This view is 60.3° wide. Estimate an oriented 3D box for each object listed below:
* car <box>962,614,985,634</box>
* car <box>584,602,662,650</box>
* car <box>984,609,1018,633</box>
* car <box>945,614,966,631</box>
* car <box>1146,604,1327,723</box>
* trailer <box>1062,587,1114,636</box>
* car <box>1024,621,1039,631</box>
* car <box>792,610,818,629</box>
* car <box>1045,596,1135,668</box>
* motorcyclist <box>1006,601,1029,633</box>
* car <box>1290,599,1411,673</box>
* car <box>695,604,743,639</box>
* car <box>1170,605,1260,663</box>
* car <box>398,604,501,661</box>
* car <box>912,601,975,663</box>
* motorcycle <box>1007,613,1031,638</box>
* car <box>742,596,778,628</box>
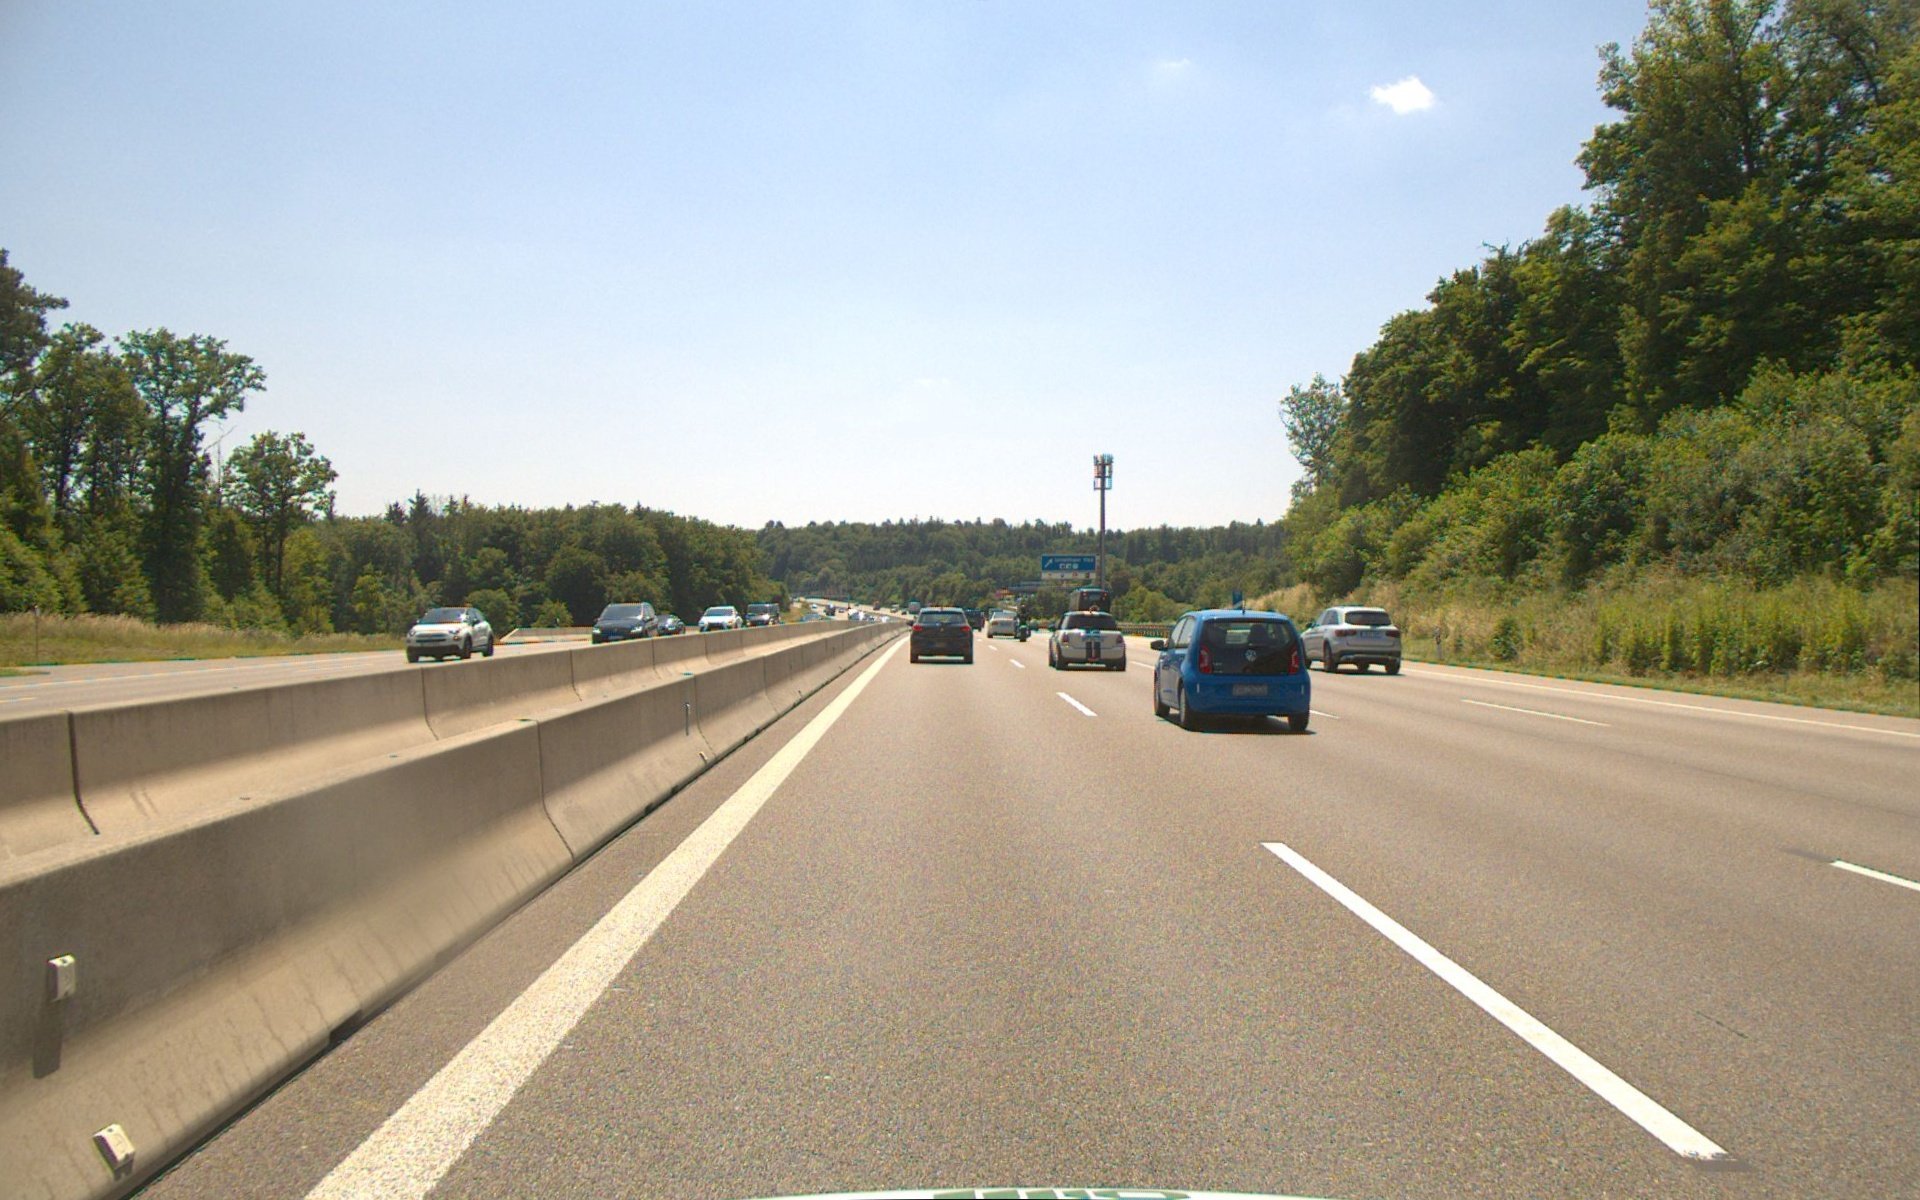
[{"bbox_3d":[1.288,2.271,157.675,2.055,1.884,4.079,0,0,-2],"label":"car"},{"bbox_3d":[-11.597,0.876,57.167,1.764,1.576,4.728,0,0,0],"label":"car"},{"bbox_3d":[2.286,1.172,92.360,1.746,1.287,3.459,0,0,-1],"label":"car"},{"bbox_3d":[-0.551,2.494,185.256,1.955,1.713,4.419,1,0,-5],"label":"car"},{"bbox_3d":[3.567,0.795,21.990,1.702,1.436,3.999,0,-1,-1],"label":"car"},{"bbox_3d":[10.254,1.003,134.140,2.800,3.753,13.536,-1,-1,-2],"label":"trailer"},{"bbox_3d":[8.631,3.160,199.550,1.576,1.234,3.458,-1,-1,-3],"label":"car"},{"bbox_3d":[-14.555,1.796,155.322,1.953,1.704,5.279,-2,0,-2],"label":"car"},{"bbox_3d":[3.157,0.810,40.894,1.804,1.579,3.999,3,-2,0],"label":"car"},{"bbox_3d":[2.687,0.800,76.763,0.943,1.463,1.234,-1,0,-3],"label":"motorcyclist"},{"bbox_3d":[10.050,0.868,42.967,1.764,1.761,5.238,1,0,-1],"label":"car"},{"bbox_3d":[-12.206,1.067,84.066,1.857,1.692,4.727,0,0,-2],"label":"car"},{"bbox_3d":[6.801,0.882,44.512,1.632,1.458,4.374,0,0,-2],"label":"car"},{"bbox_3d":[-15.362,0.952,50.027,1.708,1.589,4.422,-2,0,0],"label":"car"},{"bbox_3d":[-0.451,0.822,44.310,1.591,1.513,3.684,1,0,-1],"label":"car"},{"bbox_3d":[2.729,1.165,76.921,0.958,1.149,2.270,0,0,-3],"label":"motorcycle"},{"bbox_3d":[-12.815,0.750,106.037,1.954,2.049,4.810,0,0,-3],"label":"car"}]
